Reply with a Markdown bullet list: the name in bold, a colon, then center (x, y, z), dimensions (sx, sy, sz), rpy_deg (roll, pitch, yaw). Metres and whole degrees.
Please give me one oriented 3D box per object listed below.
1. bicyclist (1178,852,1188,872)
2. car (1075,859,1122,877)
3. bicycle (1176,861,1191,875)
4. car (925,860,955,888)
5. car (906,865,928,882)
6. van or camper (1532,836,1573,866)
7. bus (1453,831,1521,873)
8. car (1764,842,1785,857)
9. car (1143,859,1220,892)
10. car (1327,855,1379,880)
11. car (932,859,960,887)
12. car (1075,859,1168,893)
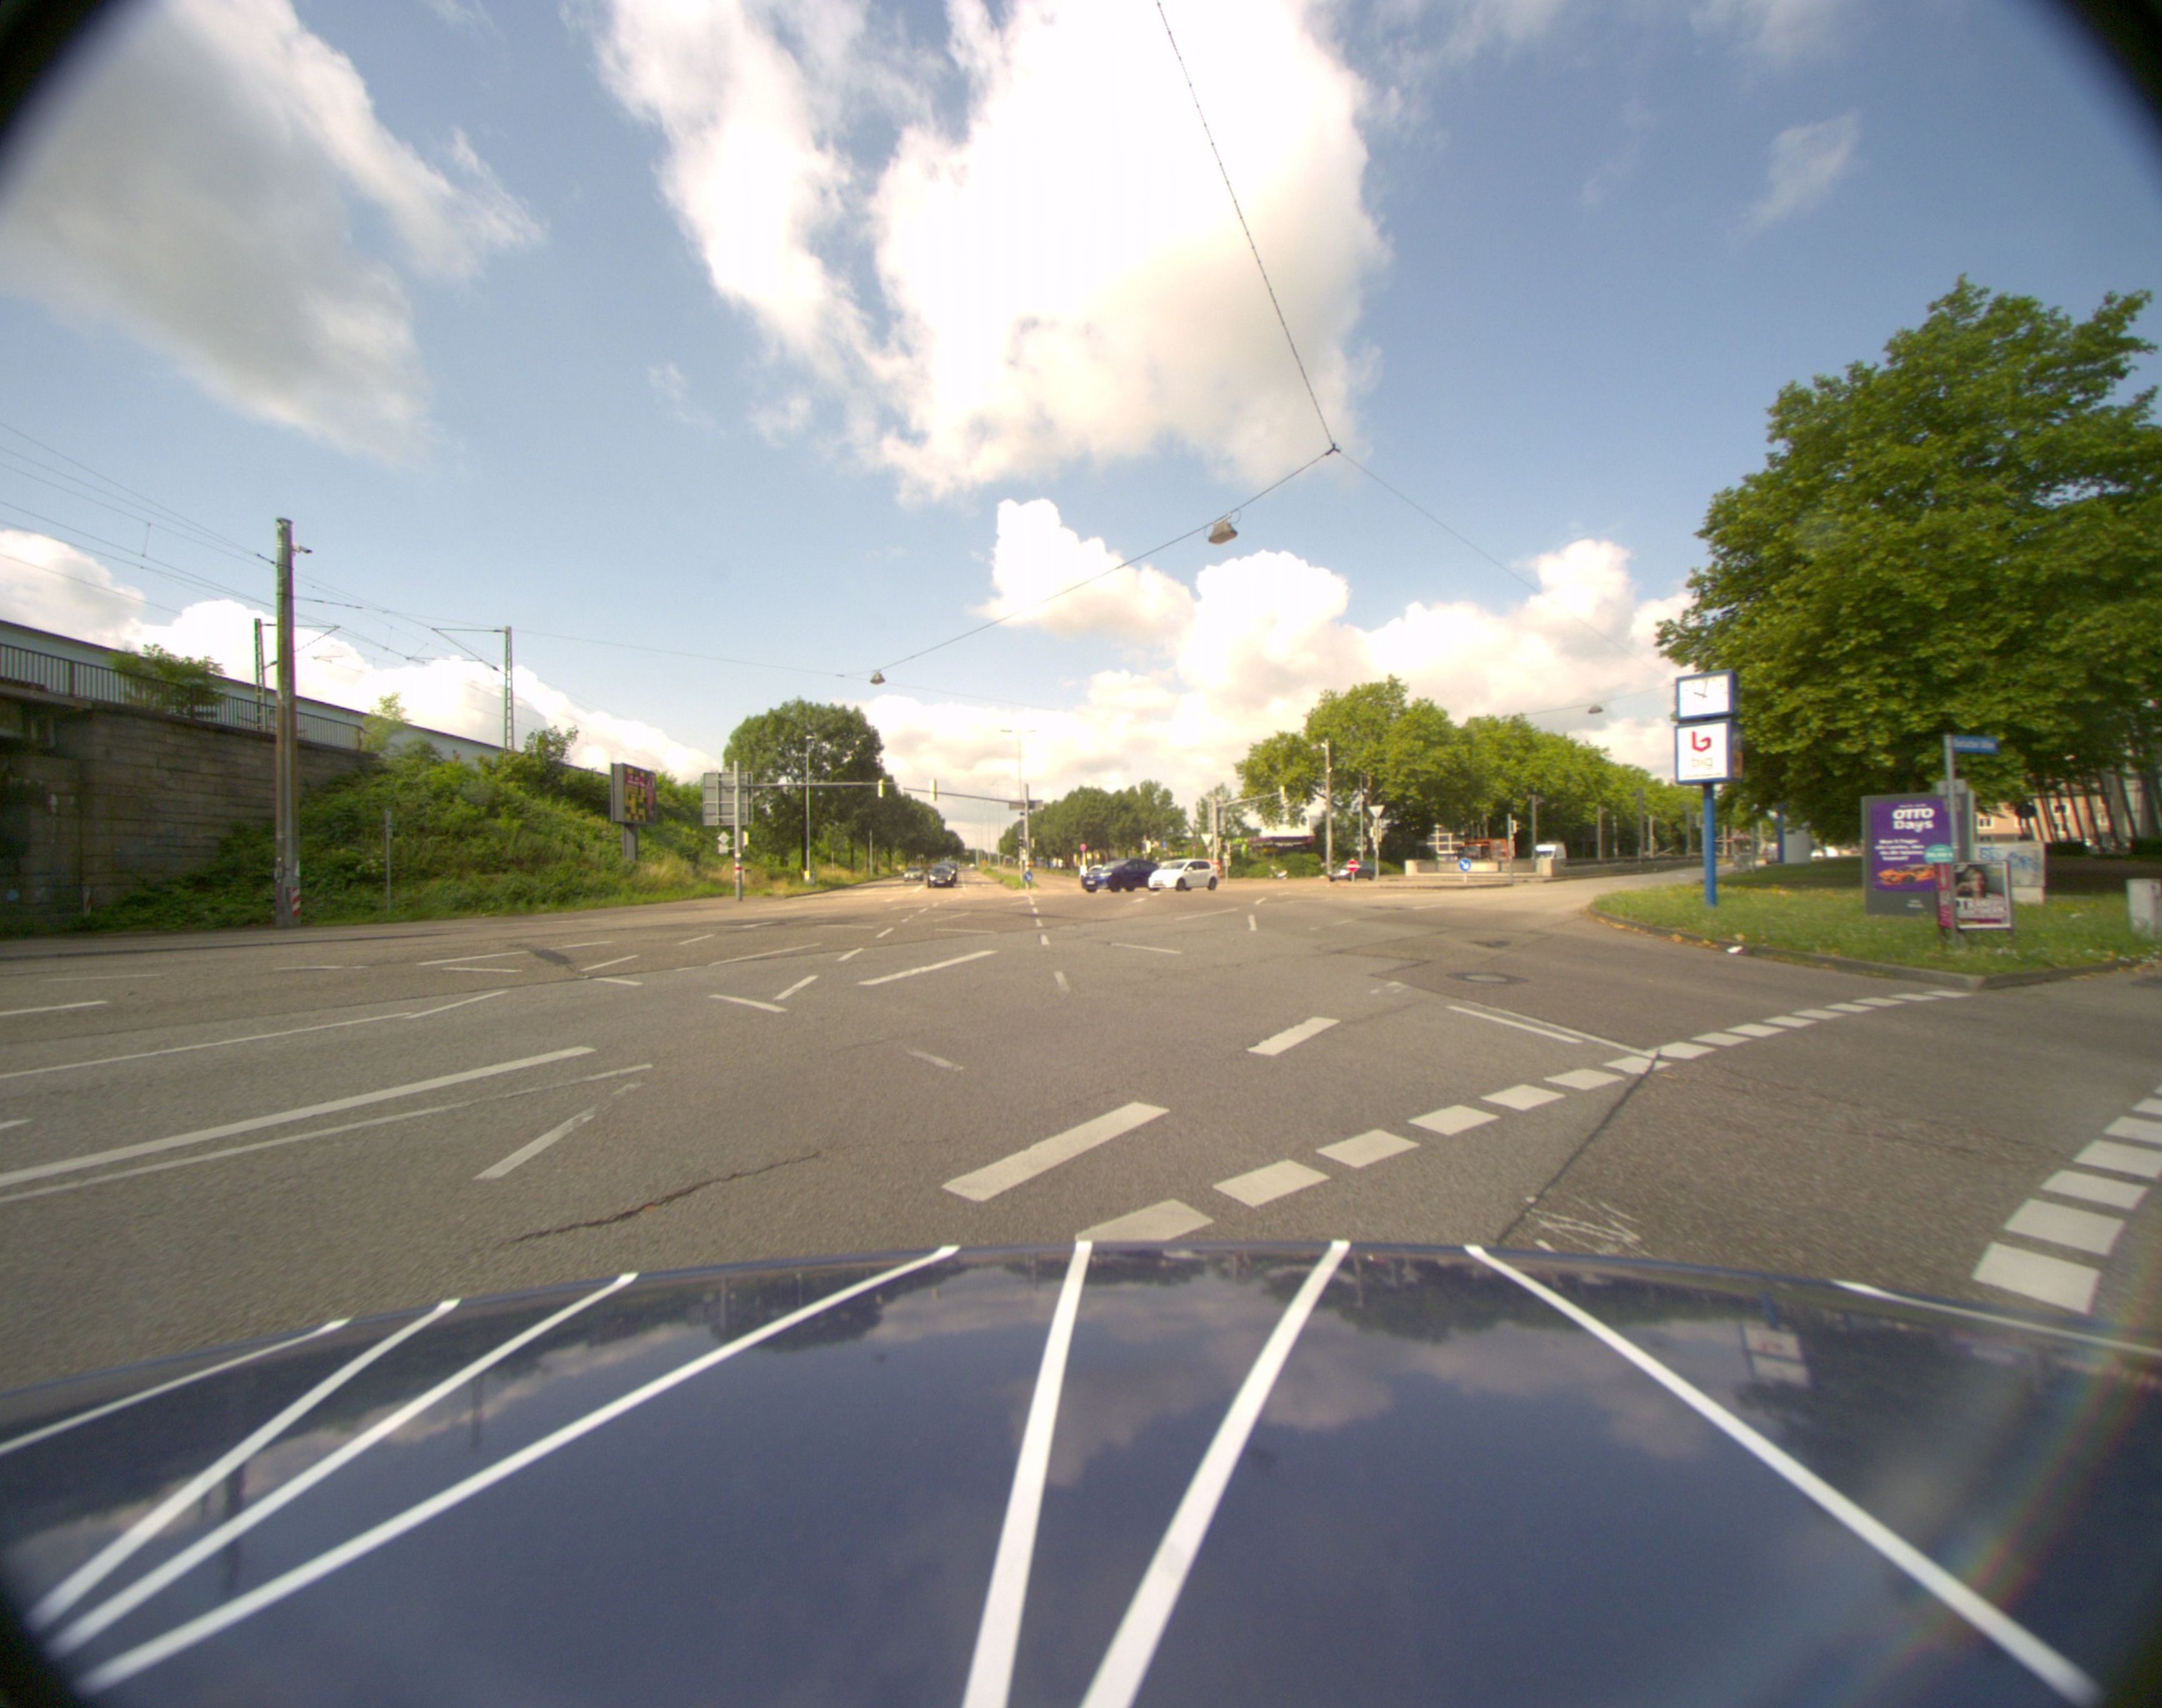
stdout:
- **bicyclist**: center (8.757, 0.671, 65.048), dimensions (0.677, 1.676, 0.754), rpy_deg (-1, 0, -3)
- **car**: center (1.443, 1.172, 63.118), dimensions (1.754, 1.470, 3.788), rpy_deg (2, -2, -43)
- **bicycle**: center (8.766, 1.179, 65.055), dimensions (0.792, 1.189, 2.232), rpy_deg (-1, 0, -3)
- **car**: center (-9.493, 1.322, 51.328), dimensions (1.741, 1.511, 3.824), rpy_deg (-1, 4, -7)
- **car**: center (-15.156, 1.744, 70.380), dimensions (1.717, 1.477, 3.997), rpy_deg (-1, 0, -9)
- **van or camper**: center (48.117, -0.342, 77.432), dimensions (2.158, 2.771, 5.976), rpy_deg (4, 5, 45)
- **bus**: center (39.414, -0.323, 73.547), dimensions (10.413, 3.448, 2.738), rpy_deg (-4, 5, -44)
- **car**: center (76.147, -0.501, 83.447), dimensions (3.162, 1.449, 1.417), rpy_deg (-4, 7, -44)
- **car**: center (4.716, 0.983, 35.334), dimensions (1.733, 1.477, 3.610), rpy_deg (-1, -1, 44)
- **car**: center (19.117, 0.901, 53.355), dimensions (4.007, 1.456, 1.768), rpy_deg (-5, 2, -44)
- **car**: center (-10.156, 1.394, 57.124), dimensions (1.977, 1.740, 4.017), rpy_deg (0, 5, -10)
- **car**: center (2.043, 1.032, 37.323), dimensions (4.590, 1.566, 1.887), rpy_deg (1, -1, -44)
